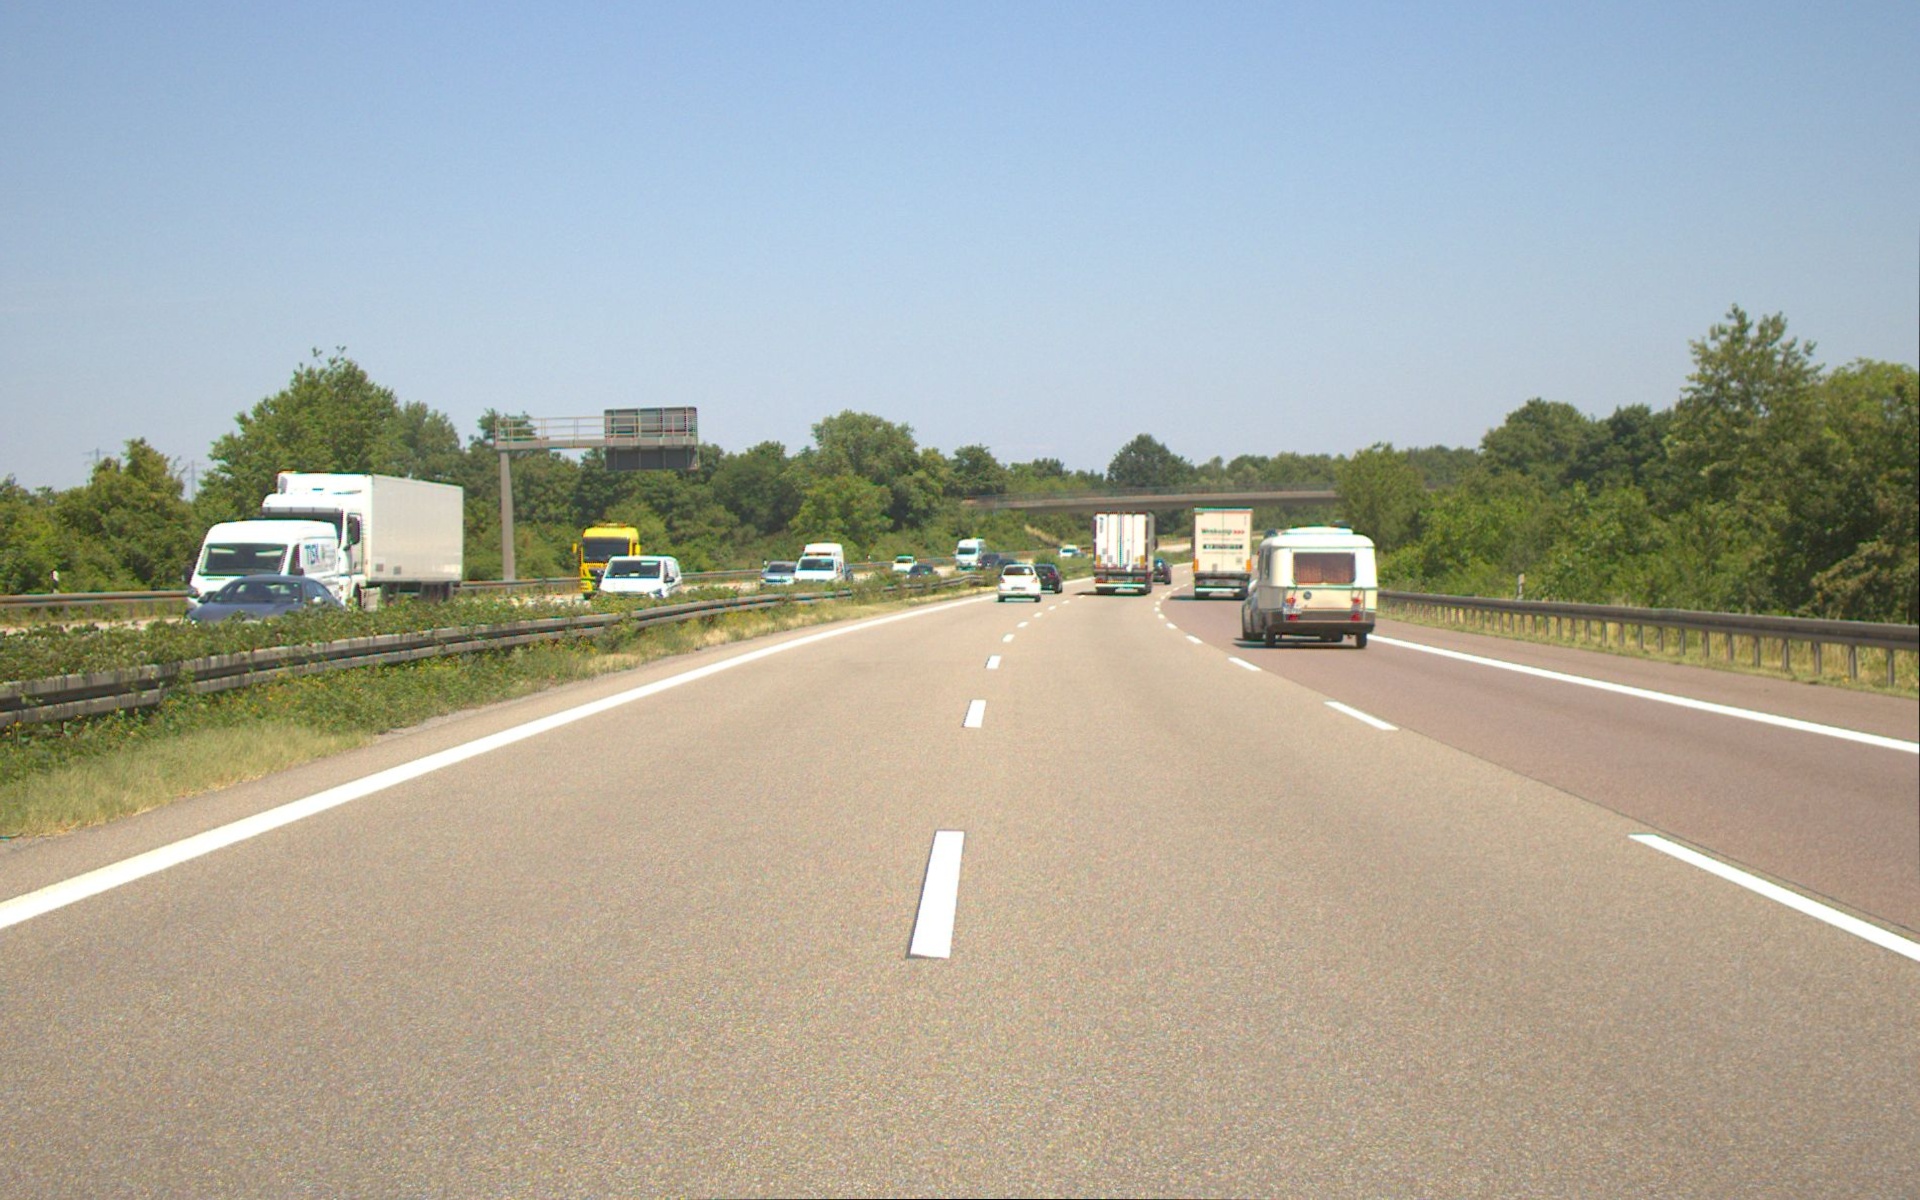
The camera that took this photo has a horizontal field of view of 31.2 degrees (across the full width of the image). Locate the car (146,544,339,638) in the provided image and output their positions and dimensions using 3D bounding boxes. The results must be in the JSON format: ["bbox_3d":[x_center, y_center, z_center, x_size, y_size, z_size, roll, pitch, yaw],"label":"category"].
[{"bbox_3d":[-11.229,-0.180,54.121,1.993,1.323,4.772,0,2,1],"label":"car"}]

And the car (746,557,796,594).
[{"bbox_3d":[-9.104,-1.199,165.988,1.993,1.730,4.814,0,1,2],"label":"car"}]

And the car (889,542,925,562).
[{"bbox_3d":[-3.919,-3.541,255.155,1.994,1.453,4.086,0,1,10],"label":"car"}]

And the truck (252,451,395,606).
[{"bbox_3d":[-17.265,-1.885,93.555,2.830,4.067,5.165,0,0,1],"label":"truck"}]

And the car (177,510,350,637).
[{"bbox_3d":[-14.134,-0.553,70.169,1.993,2.462,6.490,0,1,2],"label":"car"}]

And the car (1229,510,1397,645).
[{"bbox_3d":[6.473,-0.469,63.709,2.442,2.313,5.322,-1,2,-1],"label":"car"}]

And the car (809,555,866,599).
[{"bbox_3d":[-5.294,-1.034,149.469,1.994,1.875,5.721,0,1,3],"label":"car"}]

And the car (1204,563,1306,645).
[{"bbox_3d":[6.041,0.055,70.892,1.887,1.510,5.379,1,1,3],"label":"car"}]

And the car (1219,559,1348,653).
[{"bbox_3d":[6.490,0.083,69.481,2.045,1.652,5.511,-1,2,0],"label":"car"}]

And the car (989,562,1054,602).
[{"bbox_3d":[2.533,-0.748,140.635,1.829,1.541,4.317,1,1,13],"label":"car"}]

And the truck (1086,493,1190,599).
[{"bbox_3d":[8.953,-2.806,170.284,3.667,5.001,16.013,1,2,8],"label":"truck"}]

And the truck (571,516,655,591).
[{"bbox_3d":[-14.935,-1.992,148.478,2.521,3.141,9.667,0,1,1],"label":"truck"}]

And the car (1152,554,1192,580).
[{"bbox_3d":[13.228,-2.075,214.338,1.829,1.541,4.317,1,1,13],"label":"car"}]

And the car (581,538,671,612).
[{"bbox_3d":[-9.344,-0.724,96.581,1.993,1.933,5.338,0,2,0],"label":"car"}]

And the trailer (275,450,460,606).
[{"bbox_3d":[-17.136,-1.982,100.498,2.835,4.243,13.637,0,0,1],"label":"trailer"}]

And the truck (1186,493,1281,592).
[{"bbox_3d":[12.723,-2.756,158.452,3.182,4.289,16.013,1,2,9],"label":"truck"}]
